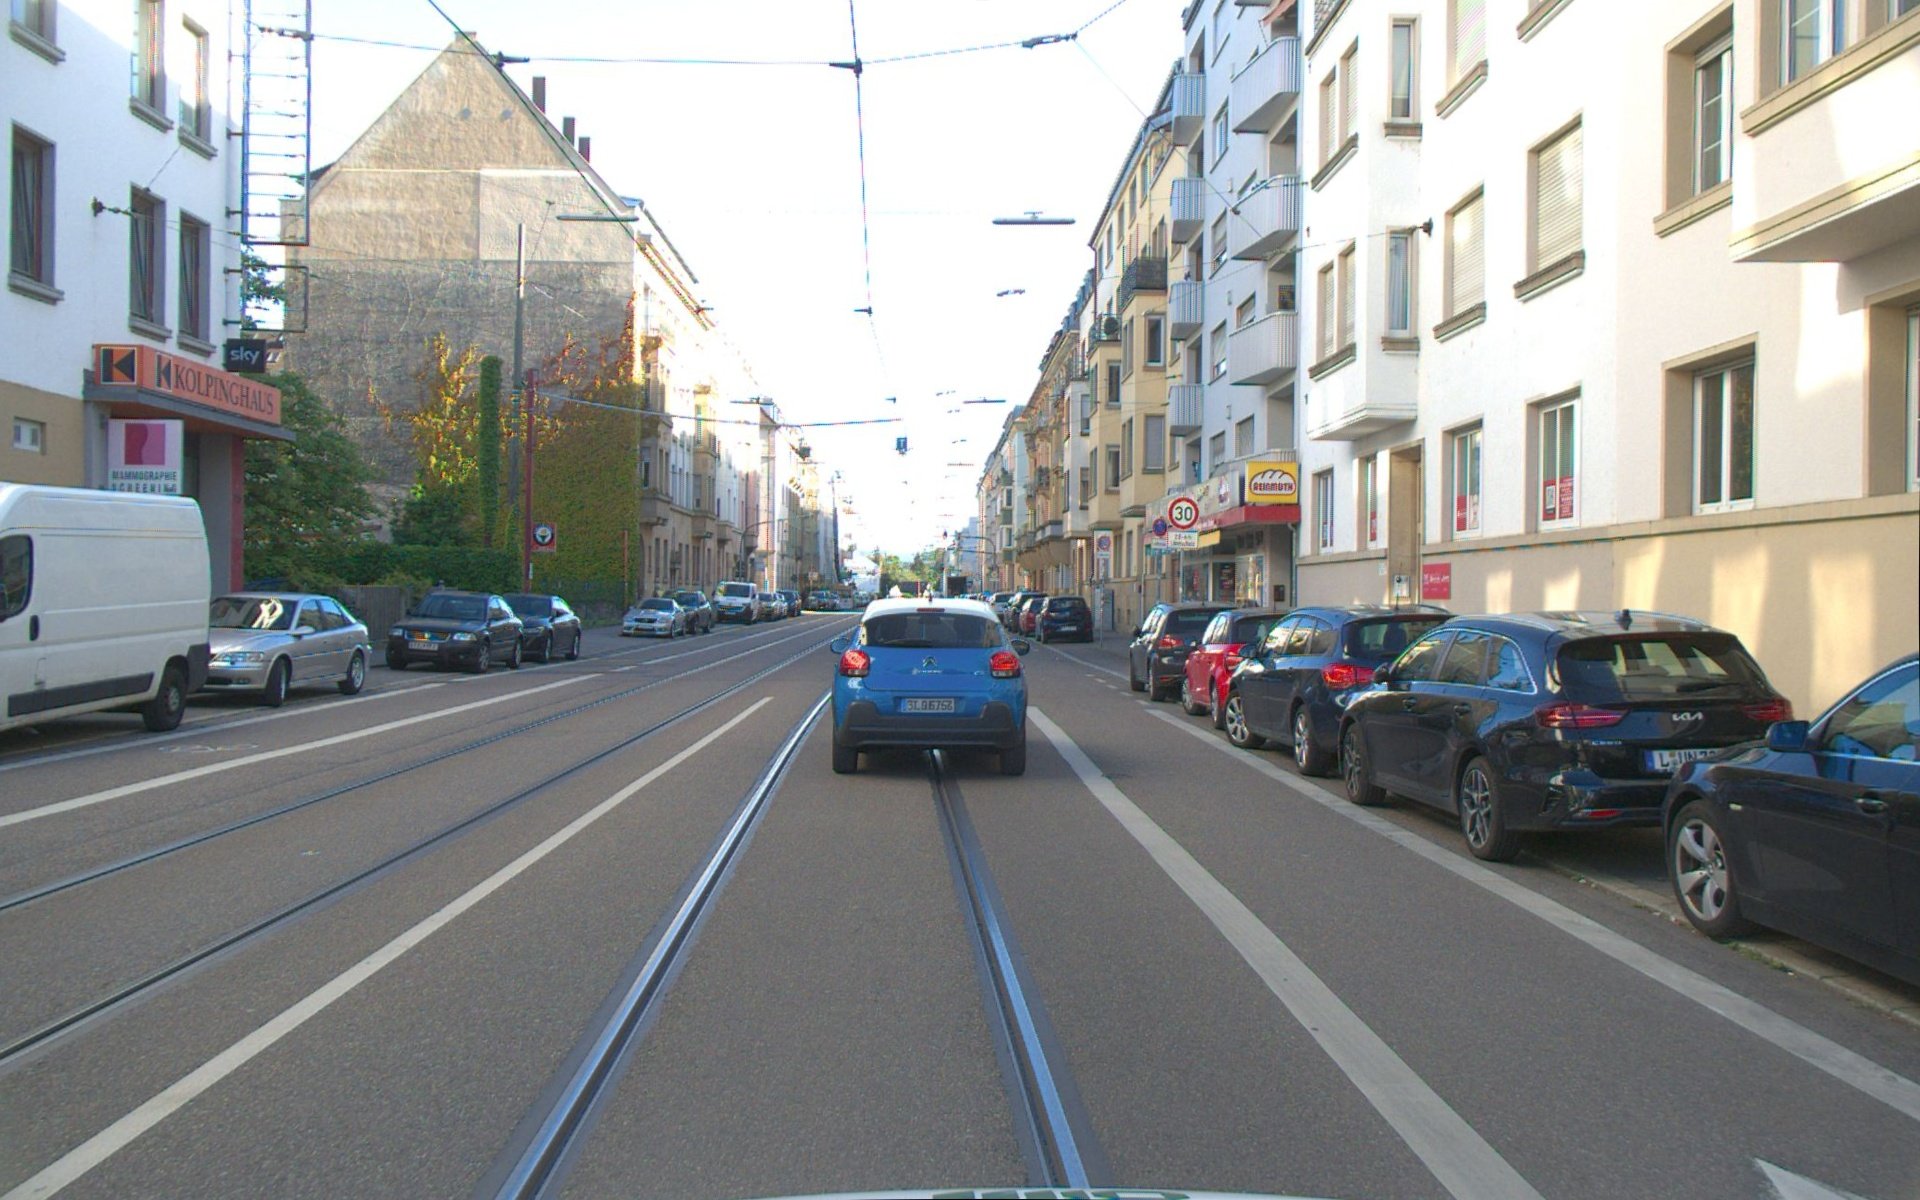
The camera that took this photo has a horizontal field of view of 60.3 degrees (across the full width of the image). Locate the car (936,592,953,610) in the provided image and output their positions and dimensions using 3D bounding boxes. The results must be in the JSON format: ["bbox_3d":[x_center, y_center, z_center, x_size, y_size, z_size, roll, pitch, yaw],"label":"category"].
[{"bbox_3d":[-1.695,0.057,183.570,1.784,1.927,3.999,2,0,-1],"label":"car"}]

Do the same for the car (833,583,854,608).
[{"bbox_3d":[-12.328,-0.497,175.404,2.102,2.518,4.977,3,0,-3],"label":"car"}]

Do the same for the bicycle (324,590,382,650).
[{"bbox_3d":[-12.455,0.405,33.991,0.430,1.195,2.050,1,0,0],"label":"bicycle"}]

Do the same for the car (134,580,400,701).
[{"bbox_3d":[-9.432,0.512,22.931,1.747,1.423,4.445,3,0,0],"label":"car"}]

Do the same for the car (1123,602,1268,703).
[{"bbox_3d":[3.691,0.772,26.581,1.675,1.432,4.358,-2,0,0],"label":"car"}]

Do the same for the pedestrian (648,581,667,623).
[{"bbox_3d":[-12.885,0.073,70.450,0.666,1.754,0.616,1,0,-1],"label":"pedestrian"}]

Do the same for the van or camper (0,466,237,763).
[{"bbox_3d":[-9.230,0.077,15.628,2.128,2.510,6.229,3,0,-2],"label":"van or camper"}]

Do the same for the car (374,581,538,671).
[{"bbox_3d":[-9.491,0.457,31.507,1.747,1.507,4.698,3,0,-2],"label":"car"}]

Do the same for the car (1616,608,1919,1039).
[{"bbox_3d":[4.387,0.831,6.390,1.712,1.534,4.918,-2,0,0],"label":"car"}]

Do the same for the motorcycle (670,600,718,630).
[{"bbox_3d":[-10.687,0.609,66.577,0.725,1.191,2.176,1,0,28],"label":"motorcycle"}]

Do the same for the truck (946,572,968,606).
[{"bbox_3d":[-0.391,-1.360,212.361,2.795,4.154,11.270,1,0,0],"label":"truck"}]

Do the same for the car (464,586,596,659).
[{"bbox_3d":[-9.693,0.479,37.687,1.747,1.471,4.840,3,0,-1],"label":"car"}]

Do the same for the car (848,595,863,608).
[{"bbox_3d":[-14.073,0.204,222.494,1.789,1.660,4.847,1,0,-1],"label":"car"}]

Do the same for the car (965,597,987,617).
[{"bbox_3d":[1.332,0.606,141.446,1.747,1.660,3.999,1,0,-1],"label":"car"}]

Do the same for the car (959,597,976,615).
[{"bbox_3d":[0.735,0.636,170.547,1.695,1.859,4.685,1,0,-1],"label":"car"}]

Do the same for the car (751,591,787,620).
[{"bbox_3d":[-10.999,0.298,95.364,1.737,1.574,4.363,3,0,-3],"label":"car"}]

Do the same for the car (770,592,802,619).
[{"bbox_3d":[-11.163,0.345,106.373,1.747,1.580,3.018,3,0,-1],"label":"car"}]

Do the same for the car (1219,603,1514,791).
[{"bbox_3d":[3.762,0.828,16.058,1.819,1.534,4.095,-2,0,0],"label":"car"}]

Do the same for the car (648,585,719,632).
[{"bbox_3d":[-10.273,0.305,61.838,1.746,1.592,4.610,3,0,1],"label":"car"}]

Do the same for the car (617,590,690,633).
[{"bbox_3d":[-10.419,0.383,56.476,1.747,1.337,4.220,3,0,-1],"label":"car"}]

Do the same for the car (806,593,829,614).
[{"bbox_3d":[-12.138,0.286,141.394,1.748,1.720,4.665,3,0,-3],"label":"car"}]

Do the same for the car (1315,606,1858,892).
[{"bbox_3d":[4.010,0.842,11.537,1.820,1.534,4.503,-2,0,-4],"label":"car"}]

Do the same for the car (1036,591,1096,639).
[{"bbox_3d":[3.482,0.476,55.006,1.683,1.517,4.001,0,0,-1],"label":"car"}]

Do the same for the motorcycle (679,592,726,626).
[{"bbox_3d":[-10.653,0.385,68.486,0.867,1.375,1.953,1,0,31],"label":"motorcycle"}]

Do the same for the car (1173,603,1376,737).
[{"bbox_3d":[3.919,0.819,21.270,1.819,1.498,3.988,-2,0,0],"label":"car"}]

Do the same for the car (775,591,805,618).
[{"bbox_3d":[-11.340,0.284,110.519,1.748,1.634,4.394,3,0,-3],"label":"car"}]

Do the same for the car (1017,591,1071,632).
[{"bbox_3d":[3.190,0.438,63.452,1.821,1.481,4.709,1,0,0],"label":"car"}]

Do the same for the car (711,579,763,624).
[{"bbox_3d":[-10.735,0.072,79.979,1.933,1.982,5.249,3,0,-2],"label":"car"}]

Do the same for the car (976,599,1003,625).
[{"bbox_3d":[1.899,0.763,107.637,1.717,1.622,3.729,1,0,0],"label":"car"}]

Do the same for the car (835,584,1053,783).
[{"bbox_3d":[-0.164,0.678,15.415,1.700,1.533,3.991,3,0,-1],"label":"car"}]

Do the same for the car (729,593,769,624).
[{"bbox_3d":[-10.888,0.451,85.494,1.570,1.498,3.645,3,0,-1],"label":"car"}]

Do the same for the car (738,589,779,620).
[{"bbox_3d":[-10.967,0.246,90.199,1.747,1.550,4.358,3,0,-2],"label":"car"}]

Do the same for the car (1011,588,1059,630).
[{"bbox_3d":[3.125,0.383,69.648,1.821,1.695,4.561,1,0,0],"label":"car"}]

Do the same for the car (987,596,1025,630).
[{"bbox_3d":[2.374,0.679,86.491,1.805,1.720,4.504,1,0,-1],"label":"car"}]
